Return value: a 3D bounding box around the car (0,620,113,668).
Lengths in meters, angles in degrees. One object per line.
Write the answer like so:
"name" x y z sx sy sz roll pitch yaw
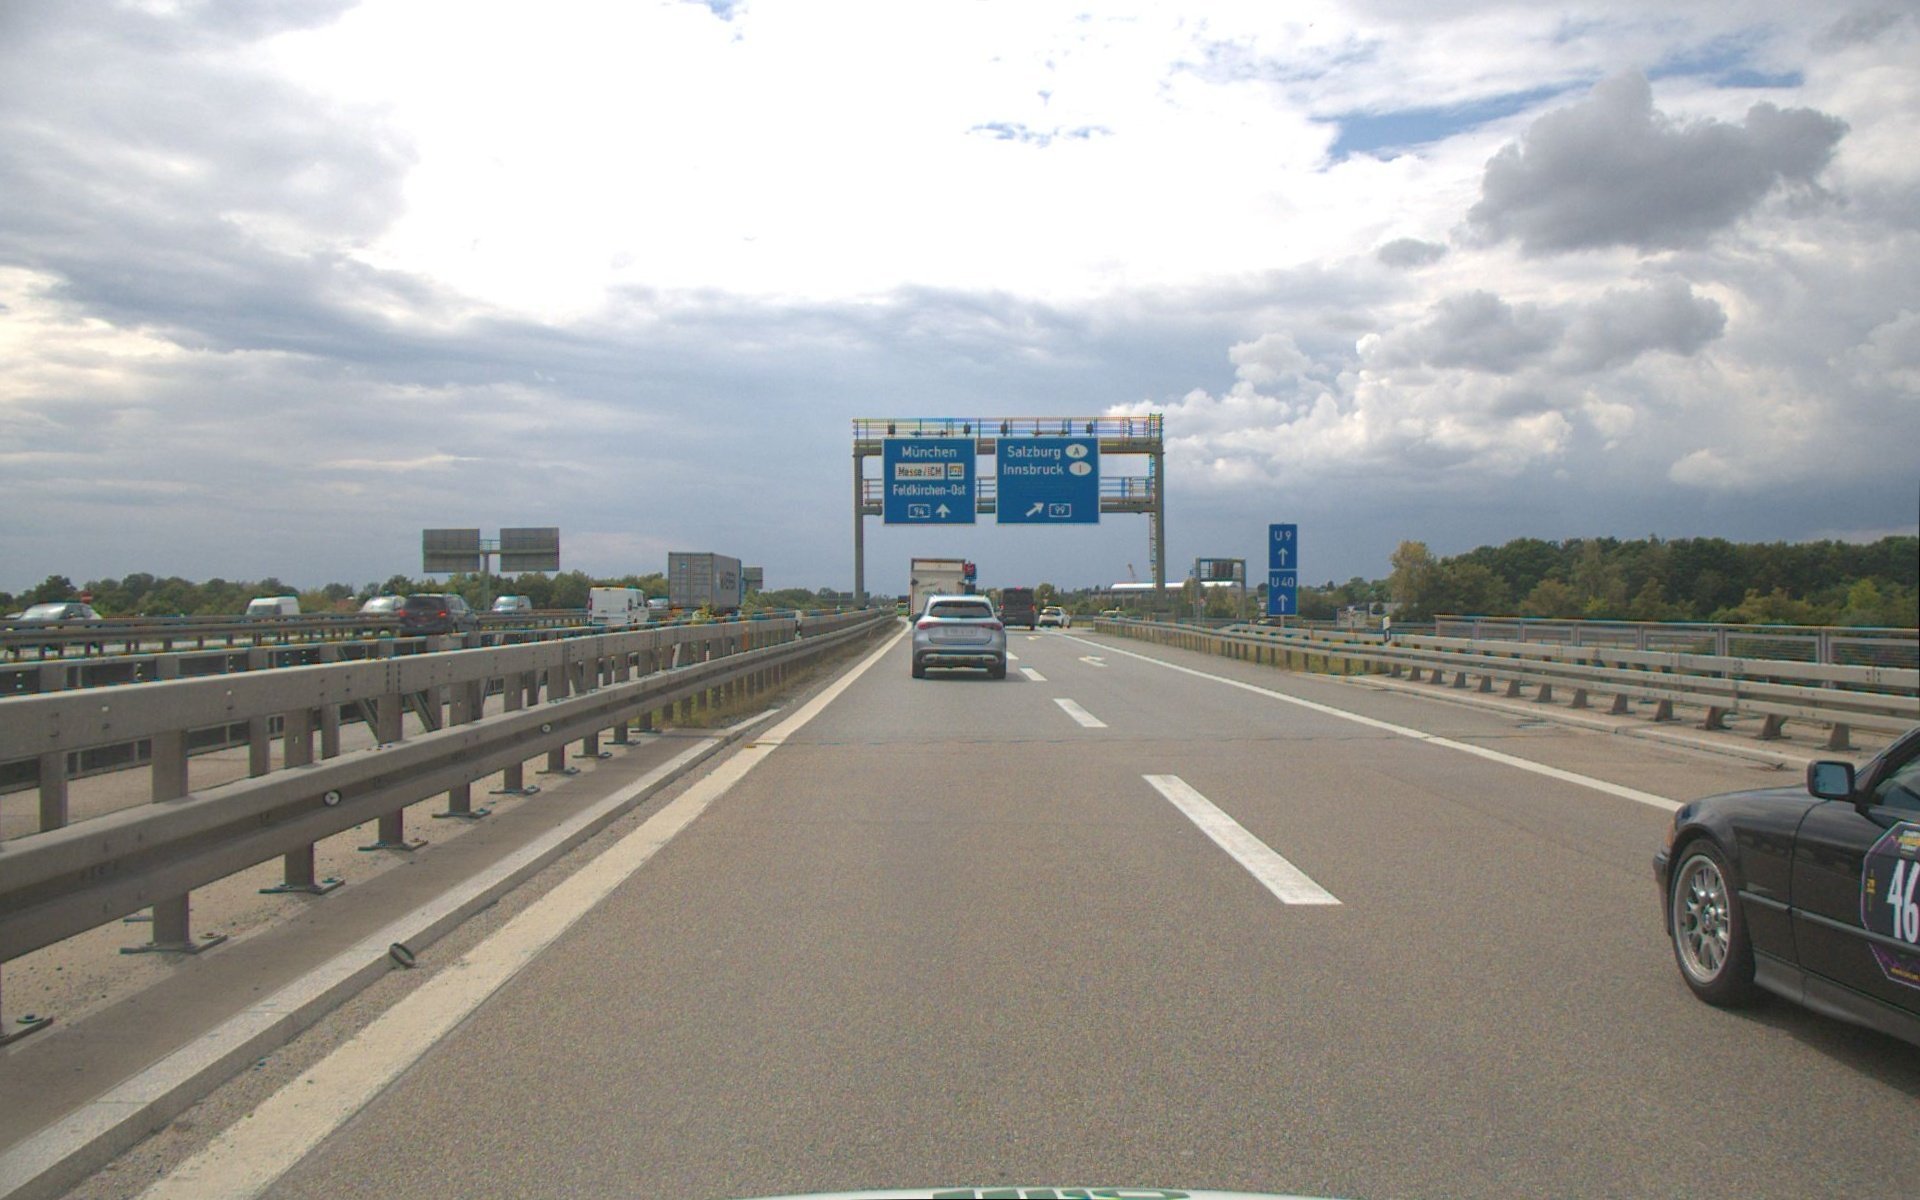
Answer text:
"car" -30.956 1.480 56.658 1.670 1.447 4.329 1 1 -1

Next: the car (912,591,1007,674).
"car" -0.022 0.611 33.568 1.782 1.541 4.000 1 1 -1

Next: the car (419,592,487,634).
"car" -23.501 0.579 76.772 1.871 1.825 4.001 1 1 1

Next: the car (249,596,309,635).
"car" -42.937 0.944 104.396 1.953 2.346 4.489 1 0 -1

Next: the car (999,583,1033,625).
"car" 3.167 0.187 93.477 1.867 2.301 4.650 1 0 2

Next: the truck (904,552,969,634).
"truck" -0.987 -0.219 69.523 2.516 3.181 8.632 1 -1 -1

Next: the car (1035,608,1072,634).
"car" 6.892 1.534 121.441 1.951 1.739 4.003 1 1 14

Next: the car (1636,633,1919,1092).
"car" 3.700 0.828 4.868 1.669 1.303 4.366 1 1 1

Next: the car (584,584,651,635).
"car" -14.399 0.379 69.763 1.953 2.049 4.374 1 1 -1

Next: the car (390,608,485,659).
"car" -17.772 1.105 56.443 1.843 1.573 4.614 1 1 -1

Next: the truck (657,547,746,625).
"truck" -14.859 -0.838 96.496 3.119 4.089 16.070 1 1 -2
